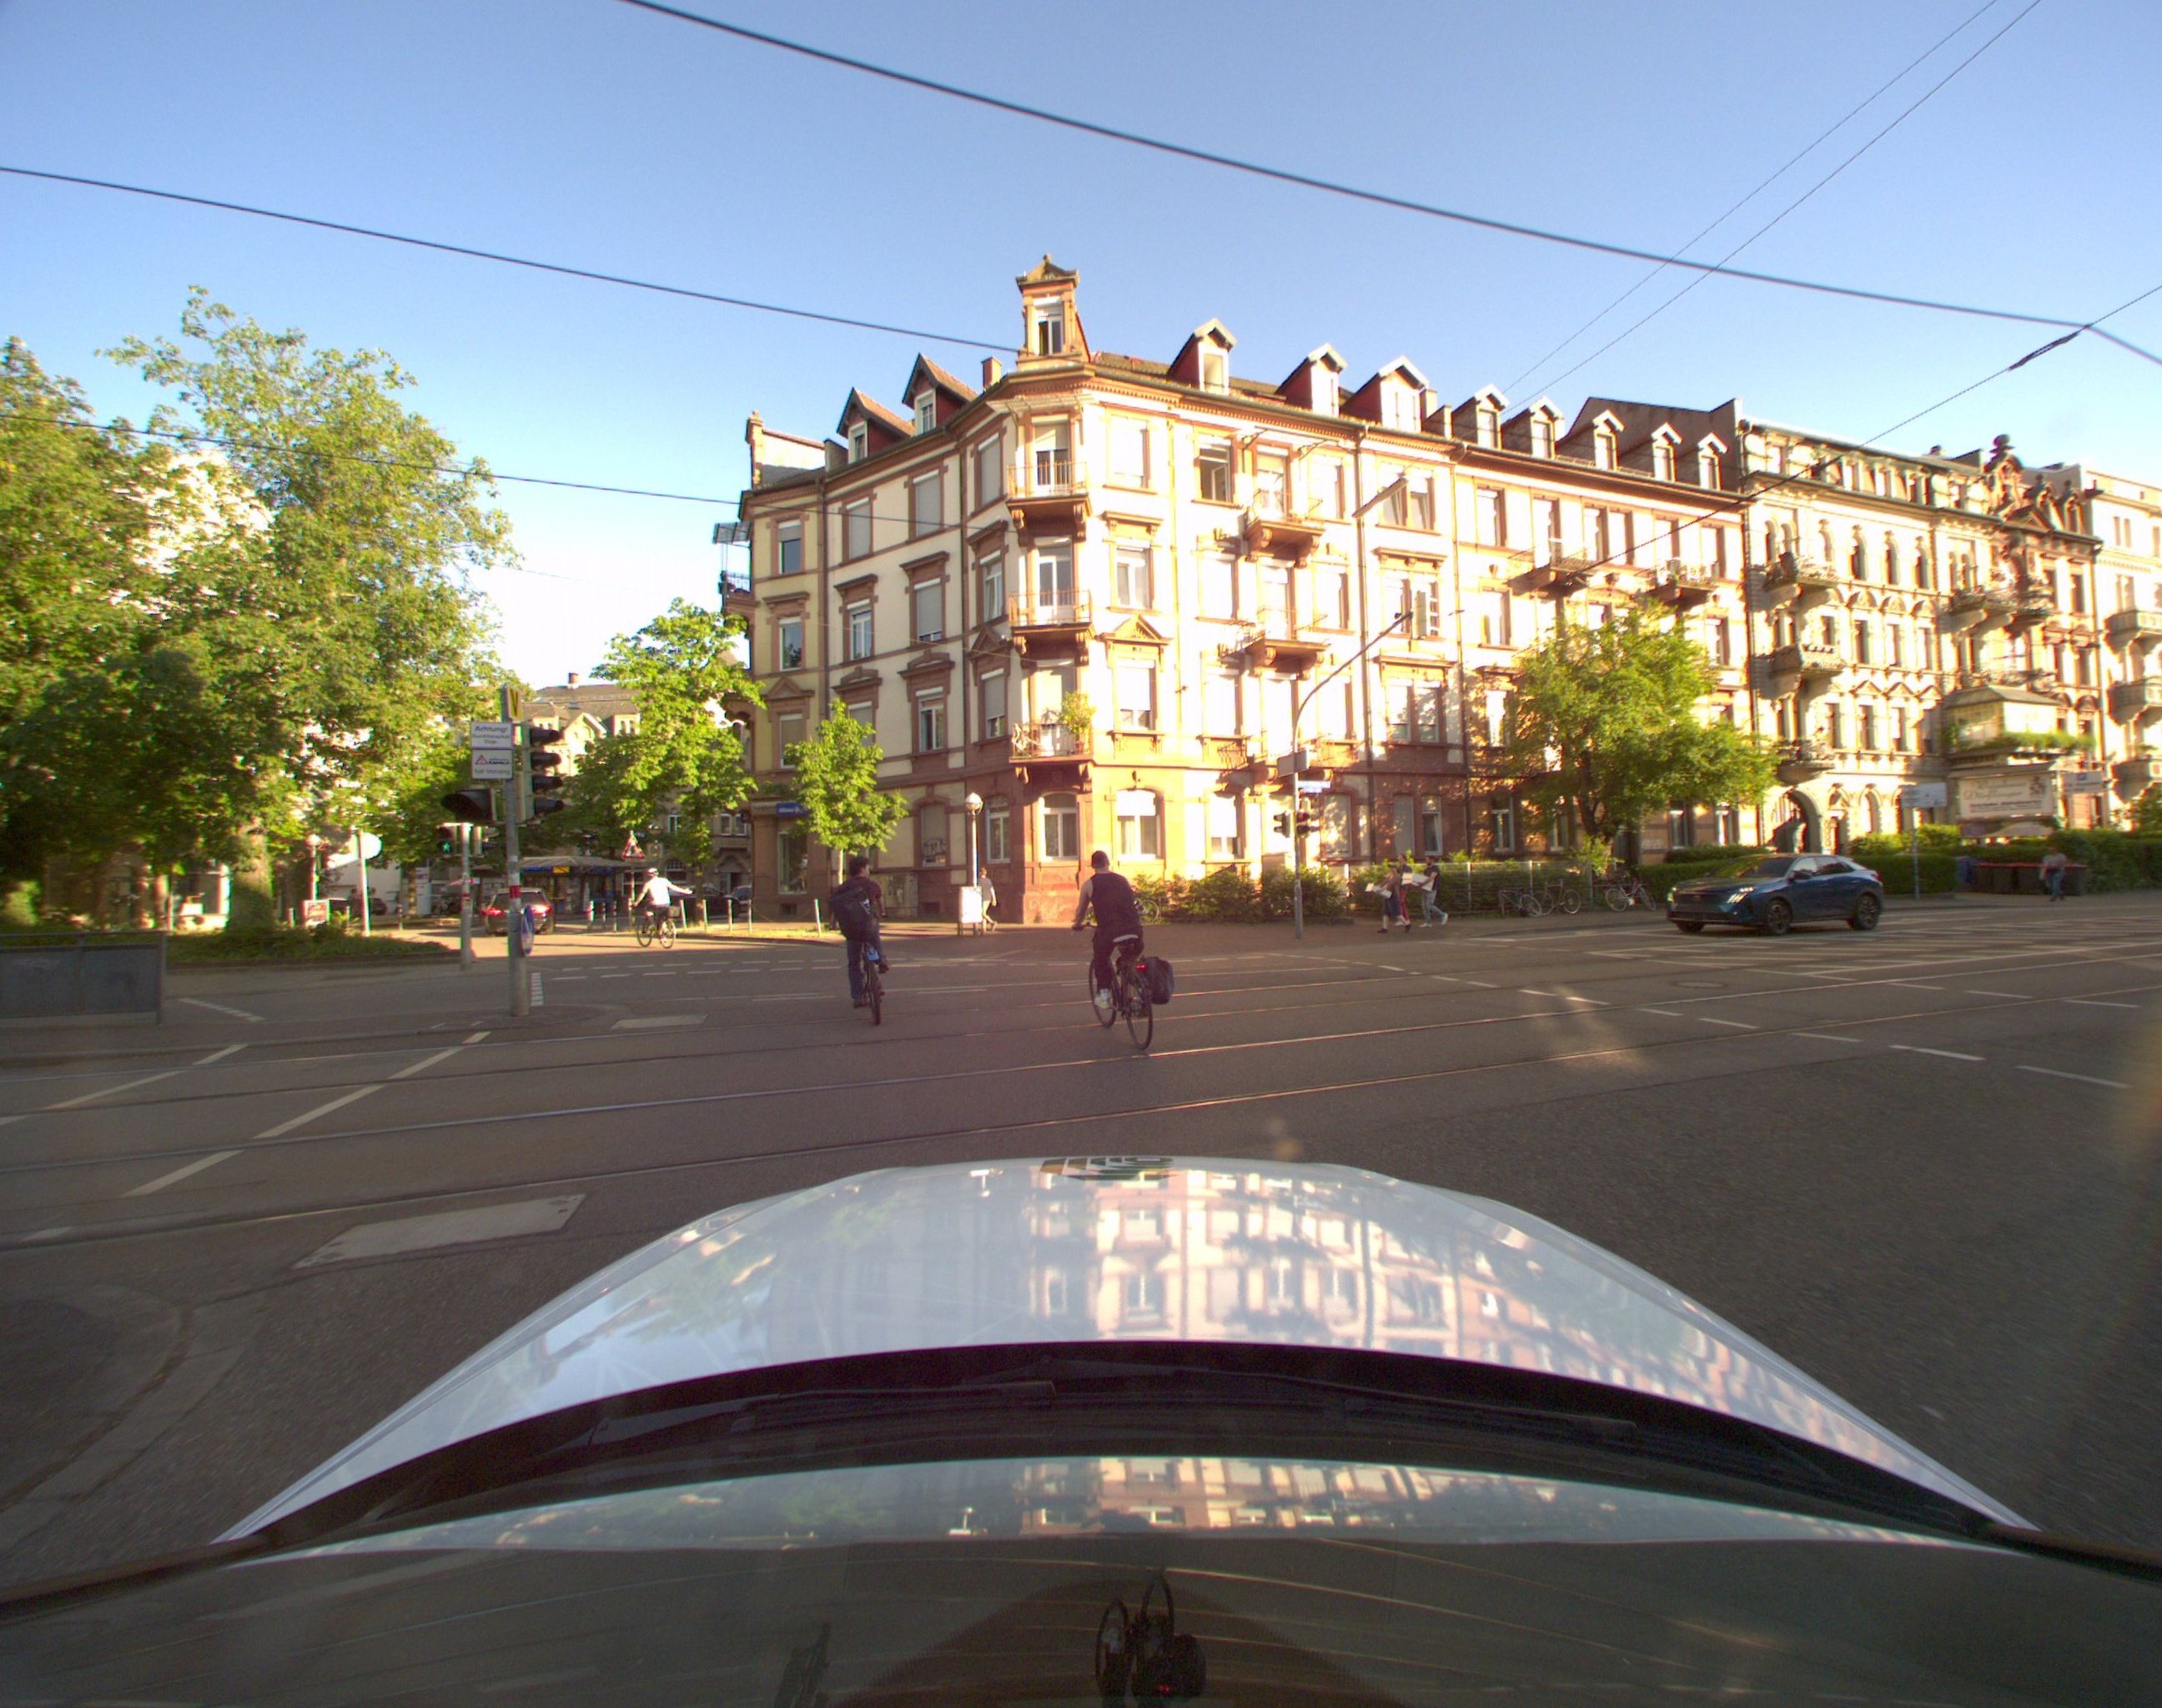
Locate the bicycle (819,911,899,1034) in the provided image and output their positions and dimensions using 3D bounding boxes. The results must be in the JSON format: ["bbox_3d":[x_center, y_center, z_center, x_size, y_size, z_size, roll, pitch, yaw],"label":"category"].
[{"bbox_3d":[-2.415,1.233,9.051,0.717,1.107,1.958,-2,-2,-12],"label":"bicycle"}]

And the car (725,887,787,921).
[{"bbox_3d":[-15.654,2.380,39.317,1.494,1.458,3.210,-2,-2,4],"label":"car"}]

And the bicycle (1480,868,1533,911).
[{"bbox_3d":[11.586,0.954,22.182,1.231,1.107,0.441,-2,-1,-13],"label":"bicycle"}]

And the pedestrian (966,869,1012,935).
[{"bbox_3d":[-2.409,1.230,21.258,0.893,1.635,0.730,-1,0,40],"label":"pedestrian"}]

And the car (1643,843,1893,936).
[{"bbox_3d":[14.434,0.713,17.155,4.408,1.650,1.936,-2,-2,-18],"label":"car"}]

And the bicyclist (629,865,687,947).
[{"bbox_3d":[-10.230,1.255,19.691,0.933,1.913,0.801,-3,-2,25],"label":"bicyclist"}]

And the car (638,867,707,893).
[{"bbox_3d":[-29.337,1.855,58.515,3.967,1.647,1.881,-2,-2,5],"label":"car"}]

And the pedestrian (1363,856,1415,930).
[{"bbox_3d":[7.256,0.913,19.201,0.892,1.665,0.712,-2,1,-1],"label":"pedestrian"}]

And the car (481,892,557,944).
[{"bbox_3d":[-18.557,2.062,26.823,1.804,1.542,3.815,1,-3,-38],"label":"car"}]

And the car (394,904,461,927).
[{"bbox_3d":[-47.203,4.408,58.863,3.544,1.499,1.674,-2,-3,5],"label":"car"}]

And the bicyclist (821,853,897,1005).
[{"bbox_3d":[-2.452,0.802,9.082,0.707,1.573,0.953,-2,-2,-12],"label":"bicyclist"}]

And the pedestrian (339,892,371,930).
[{"bbox_3d":[-34.994,2.734,39.280,0.877,1.750,0.717,-2,-2,3],"label":"pedestrian"}]

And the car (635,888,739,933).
[{"bbox_3d":[-16.337,2.287,34.023,1.782,1.611,4.377,-2,-2,7],"label":"car"}]

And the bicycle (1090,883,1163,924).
[{"bbox_3d":[1.264,1.373,22.619,1.945,1.107,0.445,-1,-1,16],"label":"bicycle"}]

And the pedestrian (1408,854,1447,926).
[{"bbox_3d":[8.429,0.861,19.826,0.633,1.715,0.663,0,0,-5],"label":"pedestrian"}]

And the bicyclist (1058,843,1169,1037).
[{"bbox_3d":[0.282,0.771,7.673,0.688,1.656,0.984,-3,-3,-16],"label":"bicyclist"}]

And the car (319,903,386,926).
[{"bbox_3d":[-52.674,4.375,58.943,3.541,1.499,1.675,-2,-3,7],"label":"car"}]

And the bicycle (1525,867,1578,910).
[{"bbox_3d":[12.979,0.939,22.469,1.231,1.107,0.441,-2,-1,-13],"label":"bicycle"}]

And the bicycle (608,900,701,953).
[{"bbox_3d":[-10.345,1.766,19.741,2.199,1.185,0.817,-3,-2,25],"label":"bicycle"}]

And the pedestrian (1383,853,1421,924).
[{"bbox_3d":[8.081,0.864,20.517,0.633,1.715,0.520,-2,-2,-5],"label":"pedestrian"}]

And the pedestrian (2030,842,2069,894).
[{"bbox_3d":[31.030,0.443,26.101,0.493,1.641,0.525,-2,-2,-7],"label":"pedestrian"}]

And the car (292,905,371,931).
[{"bbox_3d":[-47.231,4.010,51.346,3.544,1.499,1.674,-2,-3,5],"label":"car"}]

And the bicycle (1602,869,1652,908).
[{"bbox_3d":[15.502,0.979,23.119,1.231,1.038,0.441,-2,-1,-14],"label":"bicycle"}]
